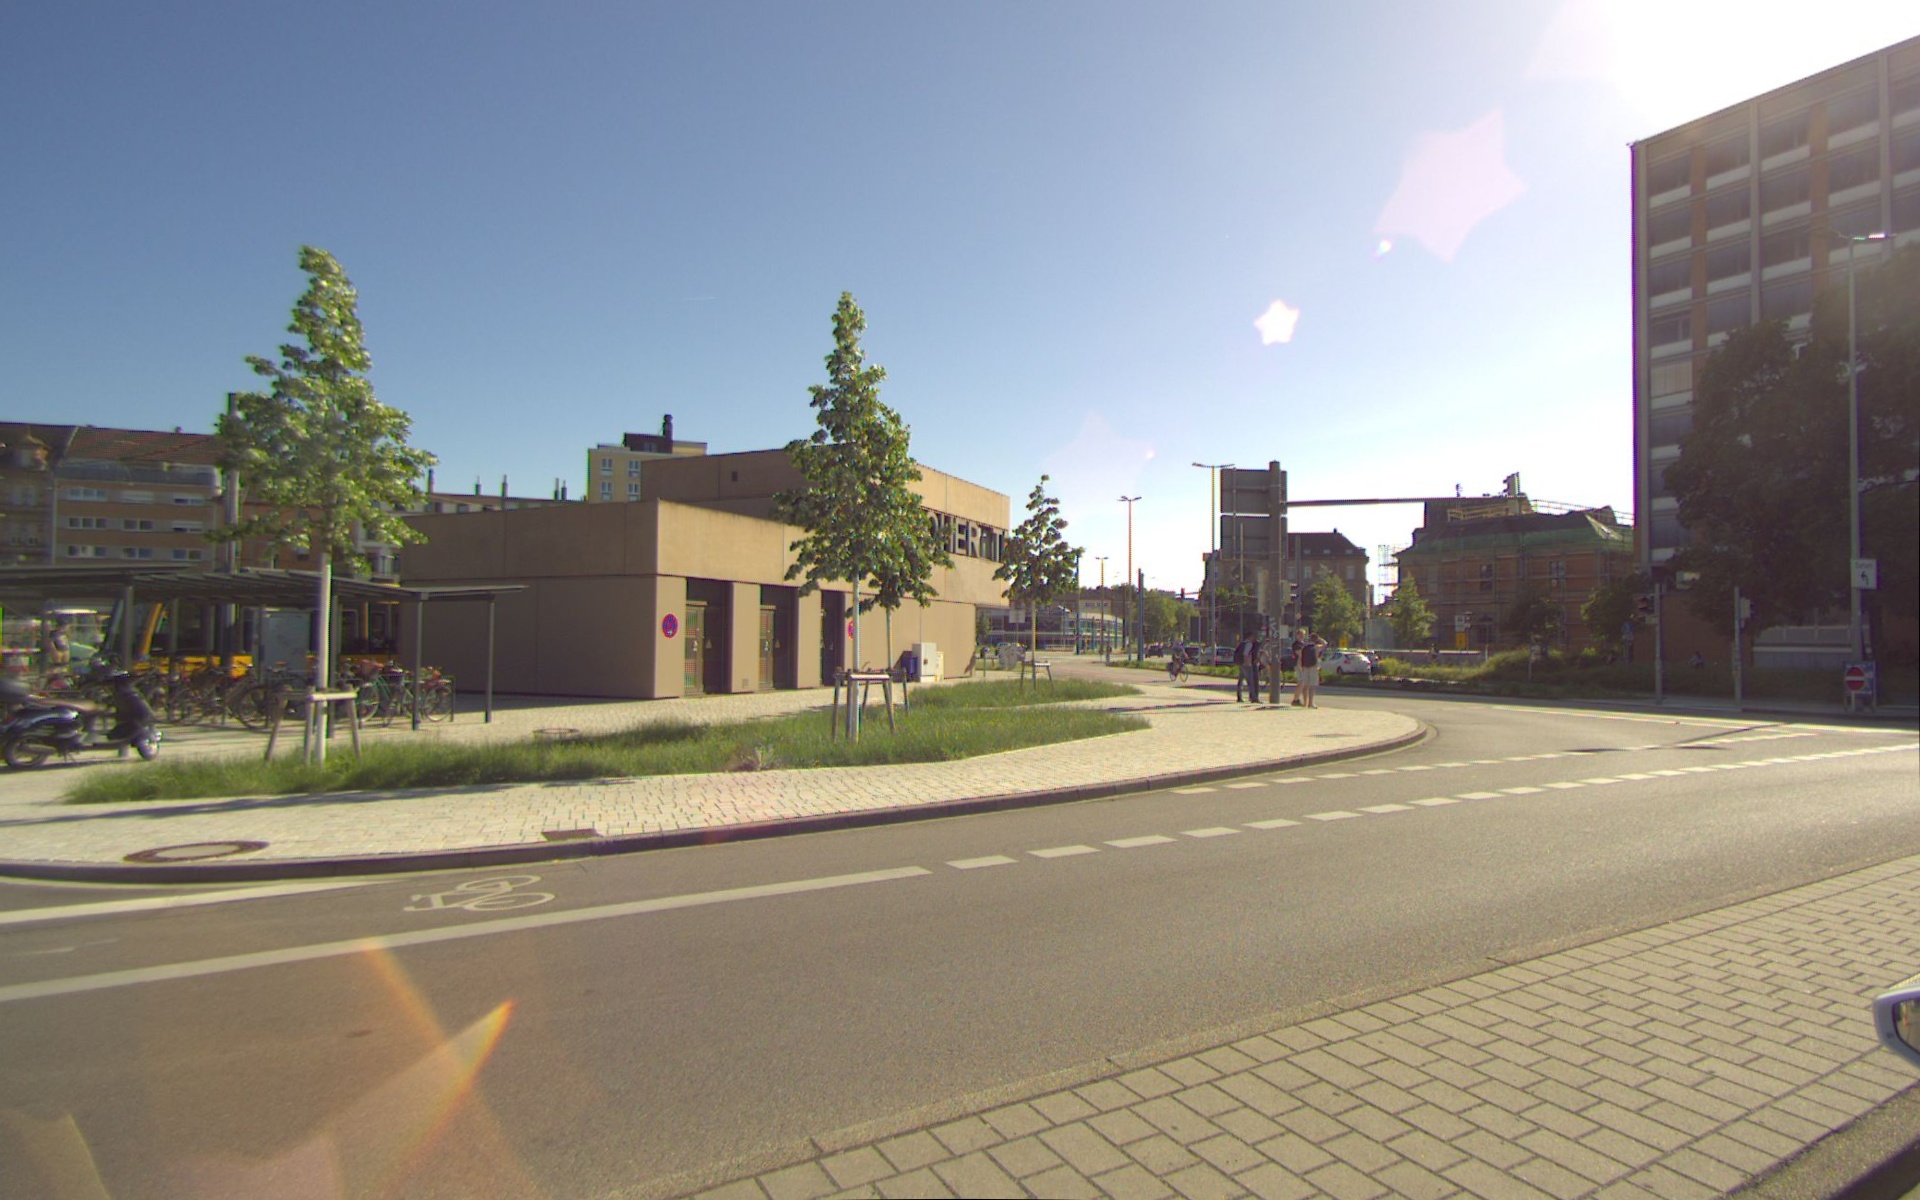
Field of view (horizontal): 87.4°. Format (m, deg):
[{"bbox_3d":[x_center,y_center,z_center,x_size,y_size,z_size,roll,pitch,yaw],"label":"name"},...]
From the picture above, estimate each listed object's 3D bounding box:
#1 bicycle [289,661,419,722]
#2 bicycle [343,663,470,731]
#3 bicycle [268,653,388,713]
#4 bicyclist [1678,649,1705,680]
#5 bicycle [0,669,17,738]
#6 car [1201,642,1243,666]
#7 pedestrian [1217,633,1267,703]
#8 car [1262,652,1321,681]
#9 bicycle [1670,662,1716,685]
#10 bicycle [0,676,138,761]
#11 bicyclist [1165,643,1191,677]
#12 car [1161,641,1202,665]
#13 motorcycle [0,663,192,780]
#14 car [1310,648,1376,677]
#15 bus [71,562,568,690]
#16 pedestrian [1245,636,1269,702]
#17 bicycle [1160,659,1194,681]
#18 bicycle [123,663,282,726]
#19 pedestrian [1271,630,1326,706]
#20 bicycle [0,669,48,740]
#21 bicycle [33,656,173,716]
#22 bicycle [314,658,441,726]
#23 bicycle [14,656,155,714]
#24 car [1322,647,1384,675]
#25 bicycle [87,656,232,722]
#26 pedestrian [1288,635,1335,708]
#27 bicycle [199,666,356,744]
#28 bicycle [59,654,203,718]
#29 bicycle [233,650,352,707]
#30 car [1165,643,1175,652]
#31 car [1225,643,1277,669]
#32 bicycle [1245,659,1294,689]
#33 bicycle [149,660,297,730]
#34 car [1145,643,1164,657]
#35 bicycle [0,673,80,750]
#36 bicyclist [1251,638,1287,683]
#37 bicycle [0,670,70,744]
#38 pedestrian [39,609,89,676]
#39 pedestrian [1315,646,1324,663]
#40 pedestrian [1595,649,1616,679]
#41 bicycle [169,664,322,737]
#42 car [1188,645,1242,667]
[{"bbox_3d":[-11.754,1.743,19.569,0.679,1.011,2.140,2,0,26],"label":"bicycle"},{"bbox_3d":[-9.959,1.721,18.158,0.524,1.051,2.070,2,0,26],"label":"bicycle"},{"bbox_3d":[-12.734,1.647,20.325,0.524,1.051,2.070,2,0,26],"label":"bicycle"},{"bbox_3d":[34.579,3.032,47.487,0.587,1.448,0.939,1,-2,-4],"label":"bicyclist"},{"bbox_3d":[-14.709,1.541,14.422,0.399,0.985,1.683,2,0,22],"label":"bicycle"},{"bbox_3d":[19.628,4.033,75.501,1.809,1.653,4.386,1,-2,-4],"label":"car"},{"bbox_3d":[7.152,1.732,25.458,0.831,1.711,0.896,5,-5,-34],"label":"pedestrian"},{"bbox_3d":[20.708,4.132,62.884,1.810,1.653,4.382,1,-2,-8],"label":"car"},{"bbox_3d":[34.574,3.449,47.408,0.587,0.976,2.082,1,-2,-3],"label":"bicycle"},{"bbox_3d":[-12.194,1.573,13.575,0.399,0.985,1.683,2,0,22],"label":"bicycle"},{"bbox_3d":[9.339,2.571,42.992,0.675,1.440,1.125,1,-4,-13],"label":"bicyclist"},{"bbox_3d":[16.531,3.938,75.121,1.809,1.653,4.386,1,-2,-4],"label":"car"},{"bbox_3d":[-10.840,1.447,12.473,0.558,1.235,2.087,0,-1,21],"label":"motorcycle"},{"bbox_3d":[21.283,3.456,55.938,1.711,1.454,3.843,1,-2,-10],"label":"car"},{"bbox_3d":[-18.498,0.865,31.194,2.810,3.112,13.620,0,-2,25],"label":"bus"},{"bbox_3d":[8.005,1.850,27.099,0.585,1.751,0.580,0,-2,14],"label":"pedestrian"},{"bbox_3d":[9.284,3.012,43.079,0.675,0.930,1.987,1,-4,-12],"label":"bicycle"},{"bbox_3d":[-13.700,1.677,18.258,0.673,0.956,2.233,2,0,25],"label":"bicycle"},{"bbox_3d":[8.383,1.685,24.879,1.083,1.822,0.704,2,-4,-8],"label":"pedestrian"},{"bbox_3d":[-14.192,1.525,14.372,0.399,0.985,1.683,2,0,22],"label":"bicycle"},{"bbox_3d":[-16.875,1.677,19.845,0.524,1.051,2.070,-2,-2,26],"label":"bicycle"},{"bbox_3d":[-10.789,1.683,18.696,0.594,1.093,2.053,2,0,25],"label":"bicycle"},{"bbox_3d":[-17.763,1.697,20.453,0.524,1.051,2.070,5,0,26],"label":"bicycle"},{"bbox_3d":[26.201,4.046,67.134,1.809,1.653,4.836,1,-2,-6],"label":"car"},{"bbox_3d":[-15.008,1.640,18.902,0.524,1.051,2.070,5,1,26],"label":"bicycle"},{"bbox_3d":[8.396,1.715,24.007,0.775,1.711,0.794,2,-5,-11],"label":"pedestrian"},{"bbox_3d":[-10.895,1.649,16.130,0.524,1.051,2.070,2,0,26],"label":"bicycle"},{"bbox_3d":[-15.894,1.623,19.317,0.524,1.051,2.070,5,1,26],"label":"bicycle"},{"bbox_3d":[-13.909,1.615,20.989,0.524,1.051,2.070,2,0,26],"label":"bicycle"},{"bbox_3d":[48.337,10.988,230.981,1.959,2.040,4.003,0,-2,7],"label":"car"},{"bbox_3d":[20.048,3.839,69.429,1.810,1.653,4.382,1,-2,-8],"label":"car"},{"bbox_3d":[10.675,2.561,34.707,0.728,1.008,1.986,1,-4,-13],"label":"bicycle"},{"bbox_3d":[-12.890,1.629,17.653,0.524,1.051,2.070,2,0,26],"label":"bicycle"},{"bbox_3d":[23.154,5.971,119.859,1.807,1.653,4.390,0,-2,6],"label":"car"},{"bbox_3d":[-13.222,1.543,13.809,0.399,0.985,1.683,2,0,22],"label":"bicycle"},{"bbox_3d":[10.670,2.083,34.726,0.729,1.519,1.070,1,-4,-14],"label":"bicyclist"},{"bbox_3d":[-13.687,1.531,14.171,0.399,0.985,1.683,2,0,22],"label":"bicycle"},{"bbox_3d":[-26.125,1.234,29.296,0.755,1.942,0.803,0,-2,23],"label":"pedestrian"},{"bbox_3d":[37.797,5.747,105.646,0.645,1.758,0.680,0,-2,1],"label":"pedestrian"},{"bbox_3d":[34.648,3.434,53.928,0.548,1.592,0.862,1,-2,-4],"label":"pedestrian"},{"bbox_3d":[-11.945,1.654,16.879,0.524,1.051,2.070,2,0,26],"label":"bicycle"},{"bbox_3d":[17.278,3.763,68.322,1.810,1.406,4.895,1,-2,-8],"label":"car"}]
